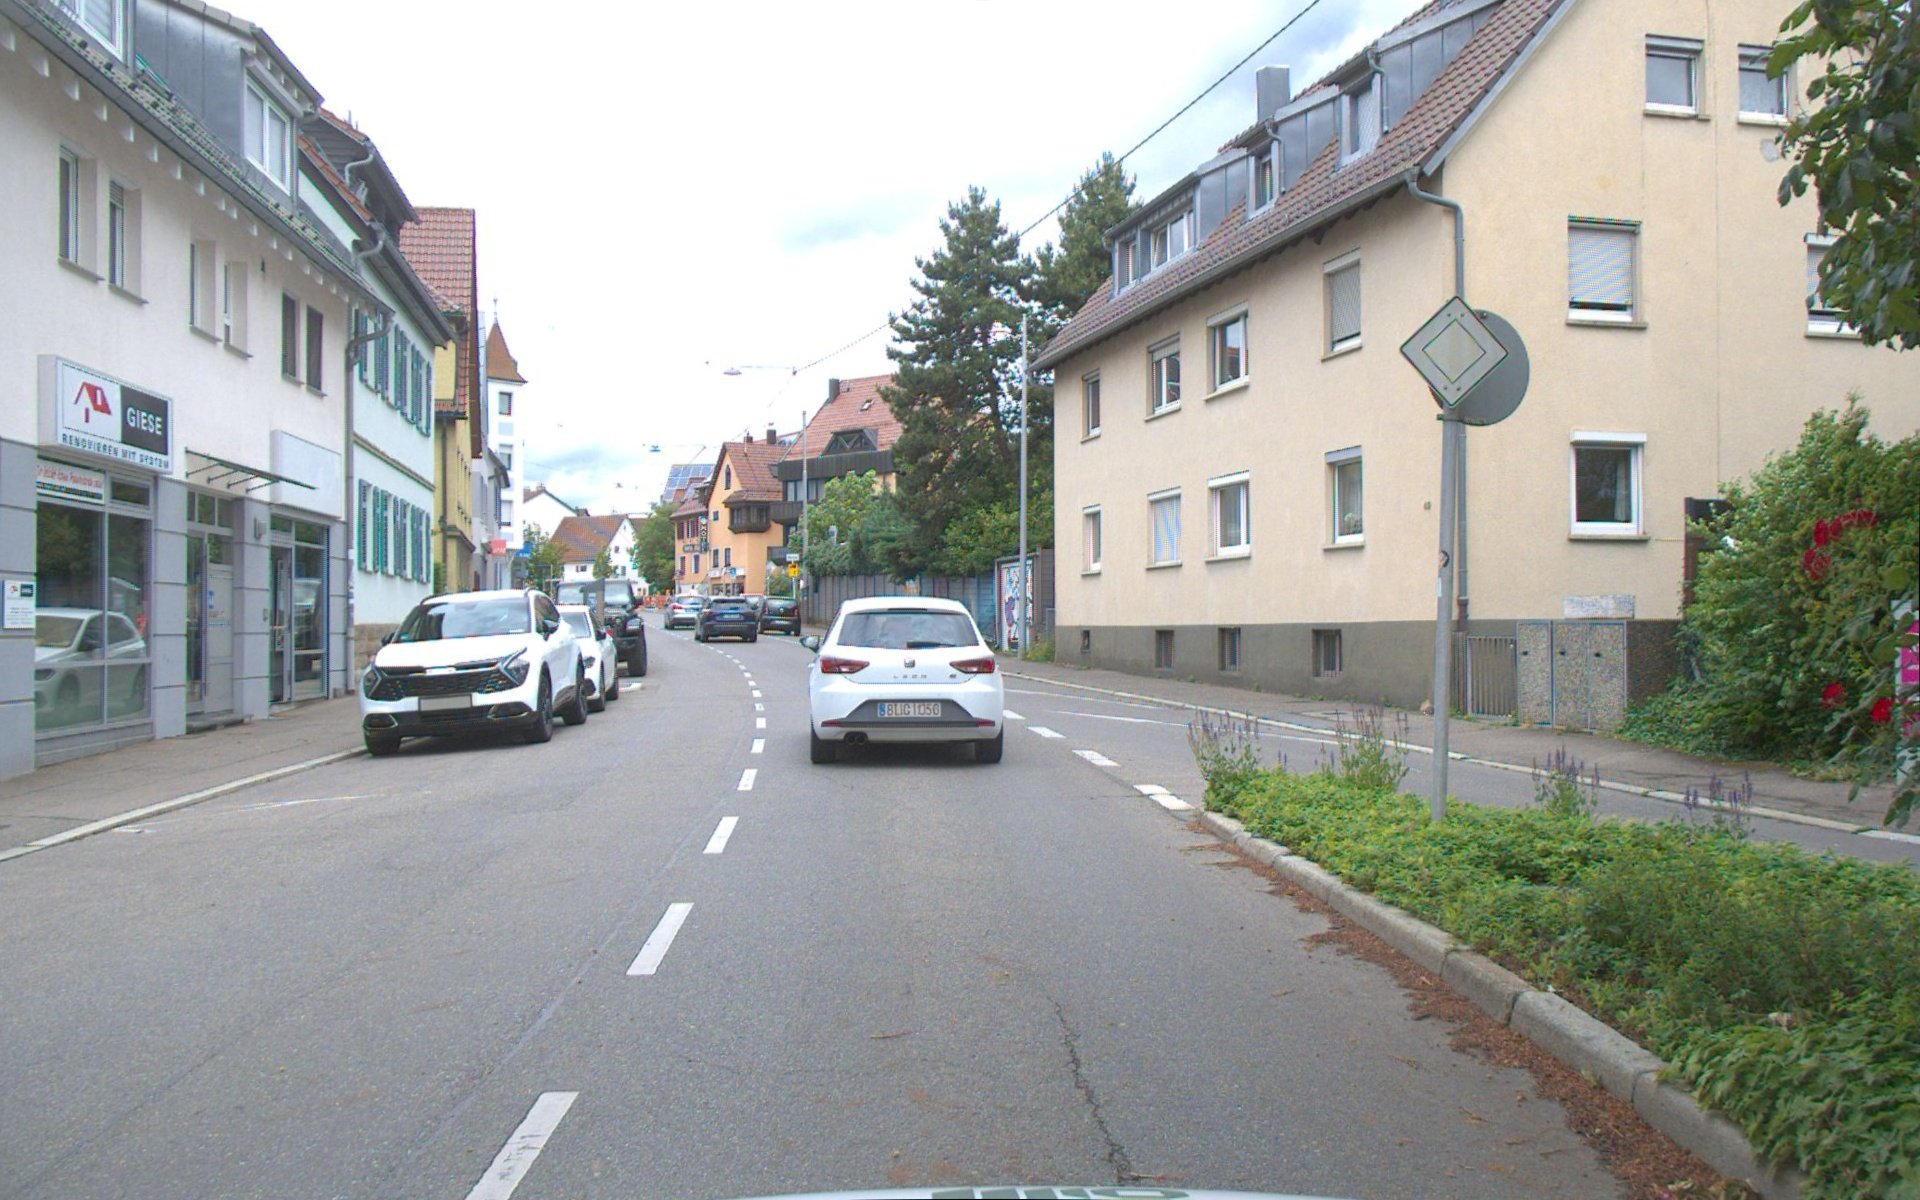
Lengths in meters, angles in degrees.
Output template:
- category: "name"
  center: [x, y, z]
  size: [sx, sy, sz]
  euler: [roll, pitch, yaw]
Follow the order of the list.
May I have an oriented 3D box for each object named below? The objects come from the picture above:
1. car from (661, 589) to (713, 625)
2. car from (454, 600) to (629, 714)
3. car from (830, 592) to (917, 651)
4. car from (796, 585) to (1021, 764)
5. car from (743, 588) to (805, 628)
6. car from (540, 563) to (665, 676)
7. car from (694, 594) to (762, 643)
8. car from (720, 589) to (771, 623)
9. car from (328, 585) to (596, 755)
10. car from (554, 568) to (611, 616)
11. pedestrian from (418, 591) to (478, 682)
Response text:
- category: "car"
  center: [-11.332, 0.270, 68.520]
  size: [1.729, 1.477, 3.983]
  euler: [0, 0, -15]
- category: "car"
  center: [-5.895, 0.751, 23.737]
  size: [1.960, 1.461, 3.912]
  euler: [1, 0, -8]
- category: "car"
  center: [-2.397, 0.549, 44.978]
  size: [1.728, 1.477, 3.988]
  euler: [2, 0, -12]
- category: "car"
  center: [-0.617, 0.610, 15.760]
  size: [1.725, 1.477, 3.993]
  euler: [0, 0, -8]
- category: "car"
  center: [-7.181, 0.298, 63.583]
  size: [1.730, 1.477, 3.982]
  euler: [0, 0, -16]
- category: "car"
  center: [-7.182, 0.335, 33.645]
  size: [1.956, 2.048, 4.664]
  euler: [-3, 1, -7]
- category: "car"
  center: [-7.380, 0.562, 52.356]
  size: [1.729, 1.477, 3.985]
  euler: [0, 0, -14]
- category: "car"
  center: [-9.714, 0.249, 74.757]
  size: [1.730, 1.477, 3.982]
  euler: [0, 0, -16]
- category: "car"
  center: [-5.428, 0.676, 18.709]
  size: [1.959, 1.661, 4.852]
  euler: [1, 0, -5]
- category: "car"
  center: [-22.081, -0.477, 96.840]
  size: [2.108, 2.734, 5.544]
  euler: [1, 0, -1]
- category: "pedestrian"
  center: [-8.862, 0.631, 28.654]
  size: [0.791, 1.526, 0.974]
  euler: [2, -1, -8]
